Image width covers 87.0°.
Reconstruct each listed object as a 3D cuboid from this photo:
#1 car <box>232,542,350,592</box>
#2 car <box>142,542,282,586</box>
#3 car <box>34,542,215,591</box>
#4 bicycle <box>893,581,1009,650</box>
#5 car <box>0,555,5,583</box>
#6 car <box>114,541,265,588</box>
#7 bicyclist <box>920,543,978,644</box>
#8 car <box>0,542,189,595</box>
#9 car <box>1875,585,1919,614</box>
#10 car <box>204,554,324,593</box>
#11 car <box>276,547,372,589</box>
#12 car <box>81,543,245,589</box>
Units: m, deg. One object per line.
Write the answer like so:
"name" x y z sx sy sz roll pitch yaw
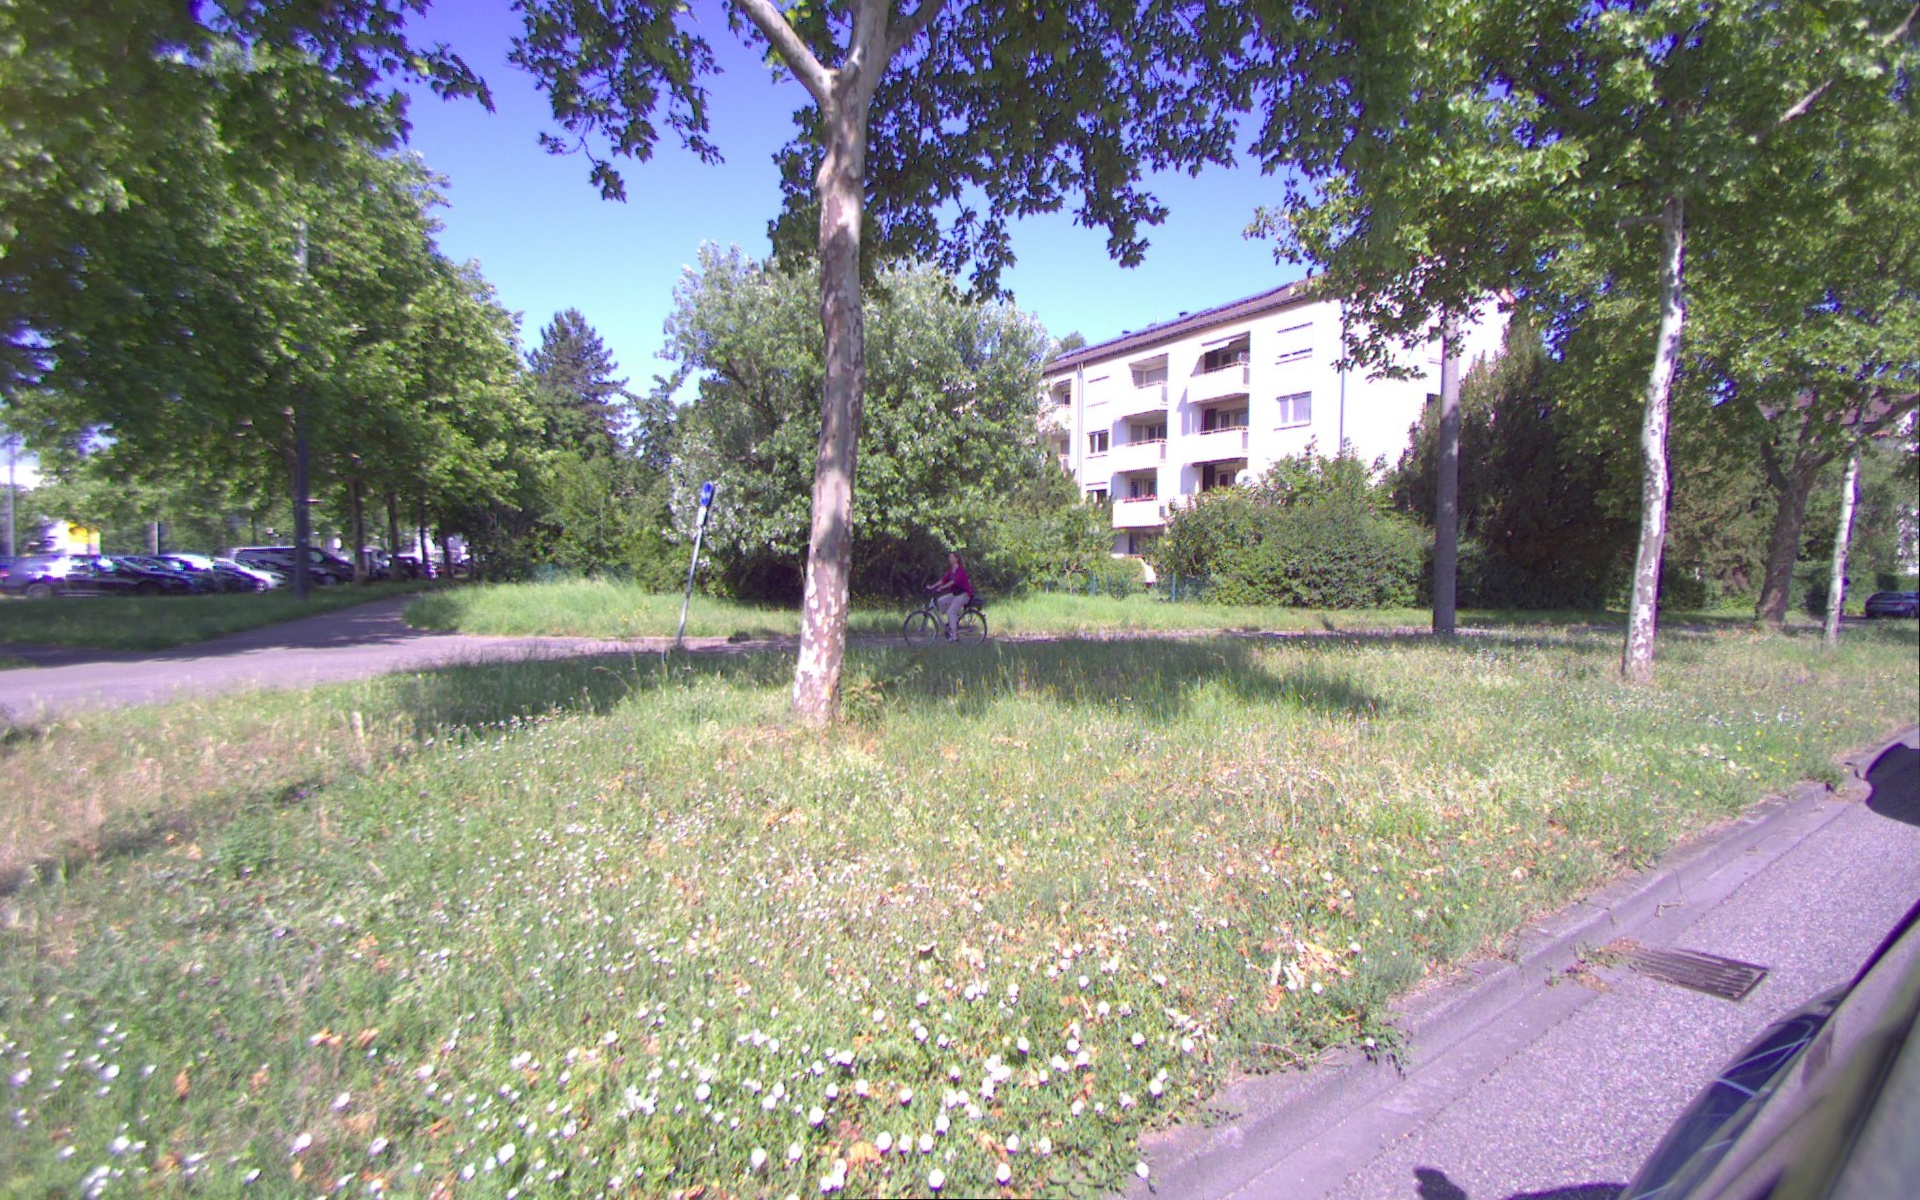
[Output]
"car" -32.334 -1.601 49.057 4.494 2.318 2.004 0 2 -24
"car" -29.810 -1.425 40.528 4.267 1.653 2.003 0 2 -29
"car" -27.226 -1.067 33.193 4.267 1.509 2.003 0 2 -29
"bicycle" -0.154 0.264 18.661 2.084 1.200 0.694 0 2 -34
"car" -64.830 -2.030 65.748 1.991 1.816 3.941 0 0 41
"car" -28.963 -1.300 38.223 4.267 1.653 2.002 0 0 -29
"bicyclist" -0.203 -0.125 18.610 0.795 1.809 0.703 0 2 -34
"car" -26.113 -0.938 30.549 4.267 1.509 2.003 -1 2 -29
"car" 47.682 -0.026 50.521 4.004 1.389 1.510 0 2 -25
"car" -31.231 -1.189 45.590 4.267 1.653 2.003 0 2 -29
"car" -35.824 -1.798 57.141 4.497 2.236 2.003 0 2 -29
"car" -28.013 -1.184 35.768 4.267 1.509 2.003 0 2 -29
